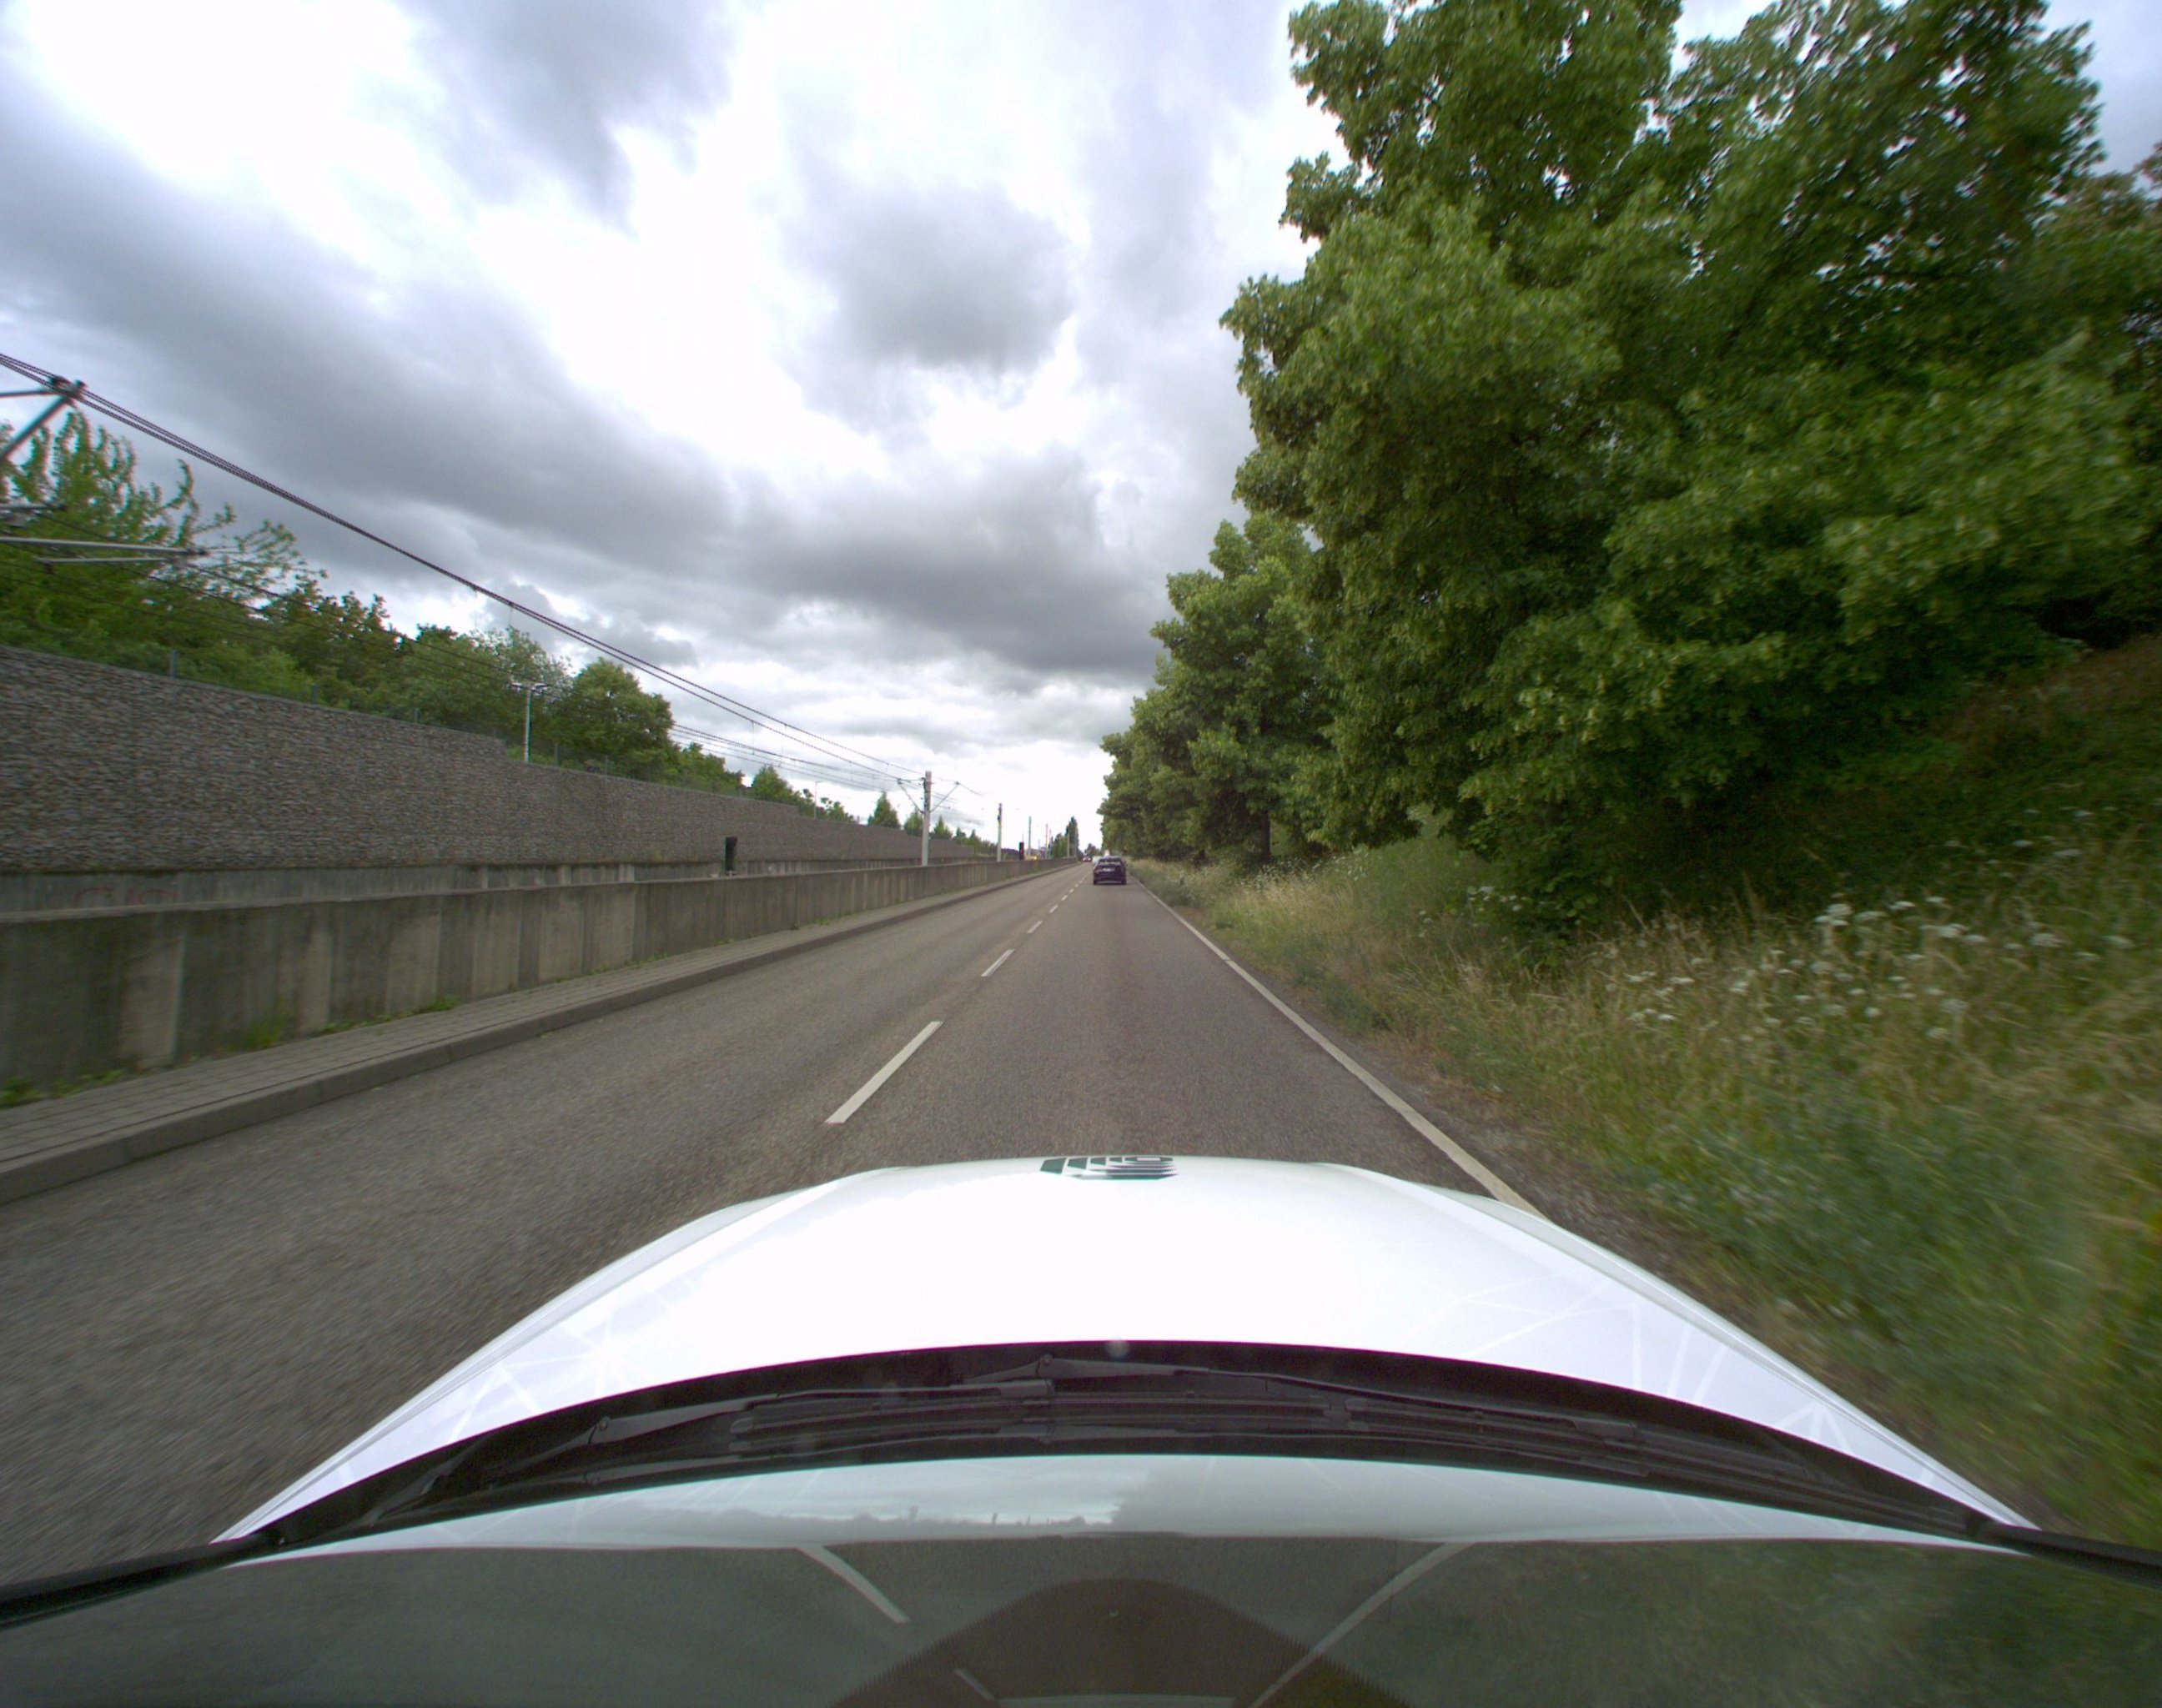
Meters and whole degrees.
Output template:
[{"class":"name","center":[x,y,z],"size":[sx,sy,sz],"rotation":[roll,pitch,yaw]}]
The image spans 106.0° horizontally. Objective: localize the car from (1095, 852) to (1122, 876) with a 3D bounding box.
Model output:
[{"class":"car","center":[2.072,0.719,61.648],"size":[1.986,1.753,4.002],"rotation":[0,0,2]}]

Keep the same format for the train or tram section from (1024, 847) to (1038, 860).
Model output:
[{"class":"train or tram section","center":[-13.372,0.014,217.216],"size":[2.808,3.117,18.869],"rotation":[0,-1,-6]}]

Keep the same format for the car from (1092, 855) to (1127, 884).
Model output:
[{"class":"car","center":[1.514,0.807,43.732],"size":[1.775,1.468,4.002],"rotation":[0,0,2]}]

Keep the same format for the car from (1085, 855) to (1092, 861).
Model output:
[{"class":"car","center":[1.863,0.953,208.233],"size":[1.657,1.545,3.953],"rotation":[-1,0,1]}]

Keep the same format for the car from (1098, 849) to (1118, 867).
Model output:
[{"class":"car","center":[2.758,0.401,83.018],"size":[1.986,1.740,4.001],"rotation":[-1,-1,2]}]
